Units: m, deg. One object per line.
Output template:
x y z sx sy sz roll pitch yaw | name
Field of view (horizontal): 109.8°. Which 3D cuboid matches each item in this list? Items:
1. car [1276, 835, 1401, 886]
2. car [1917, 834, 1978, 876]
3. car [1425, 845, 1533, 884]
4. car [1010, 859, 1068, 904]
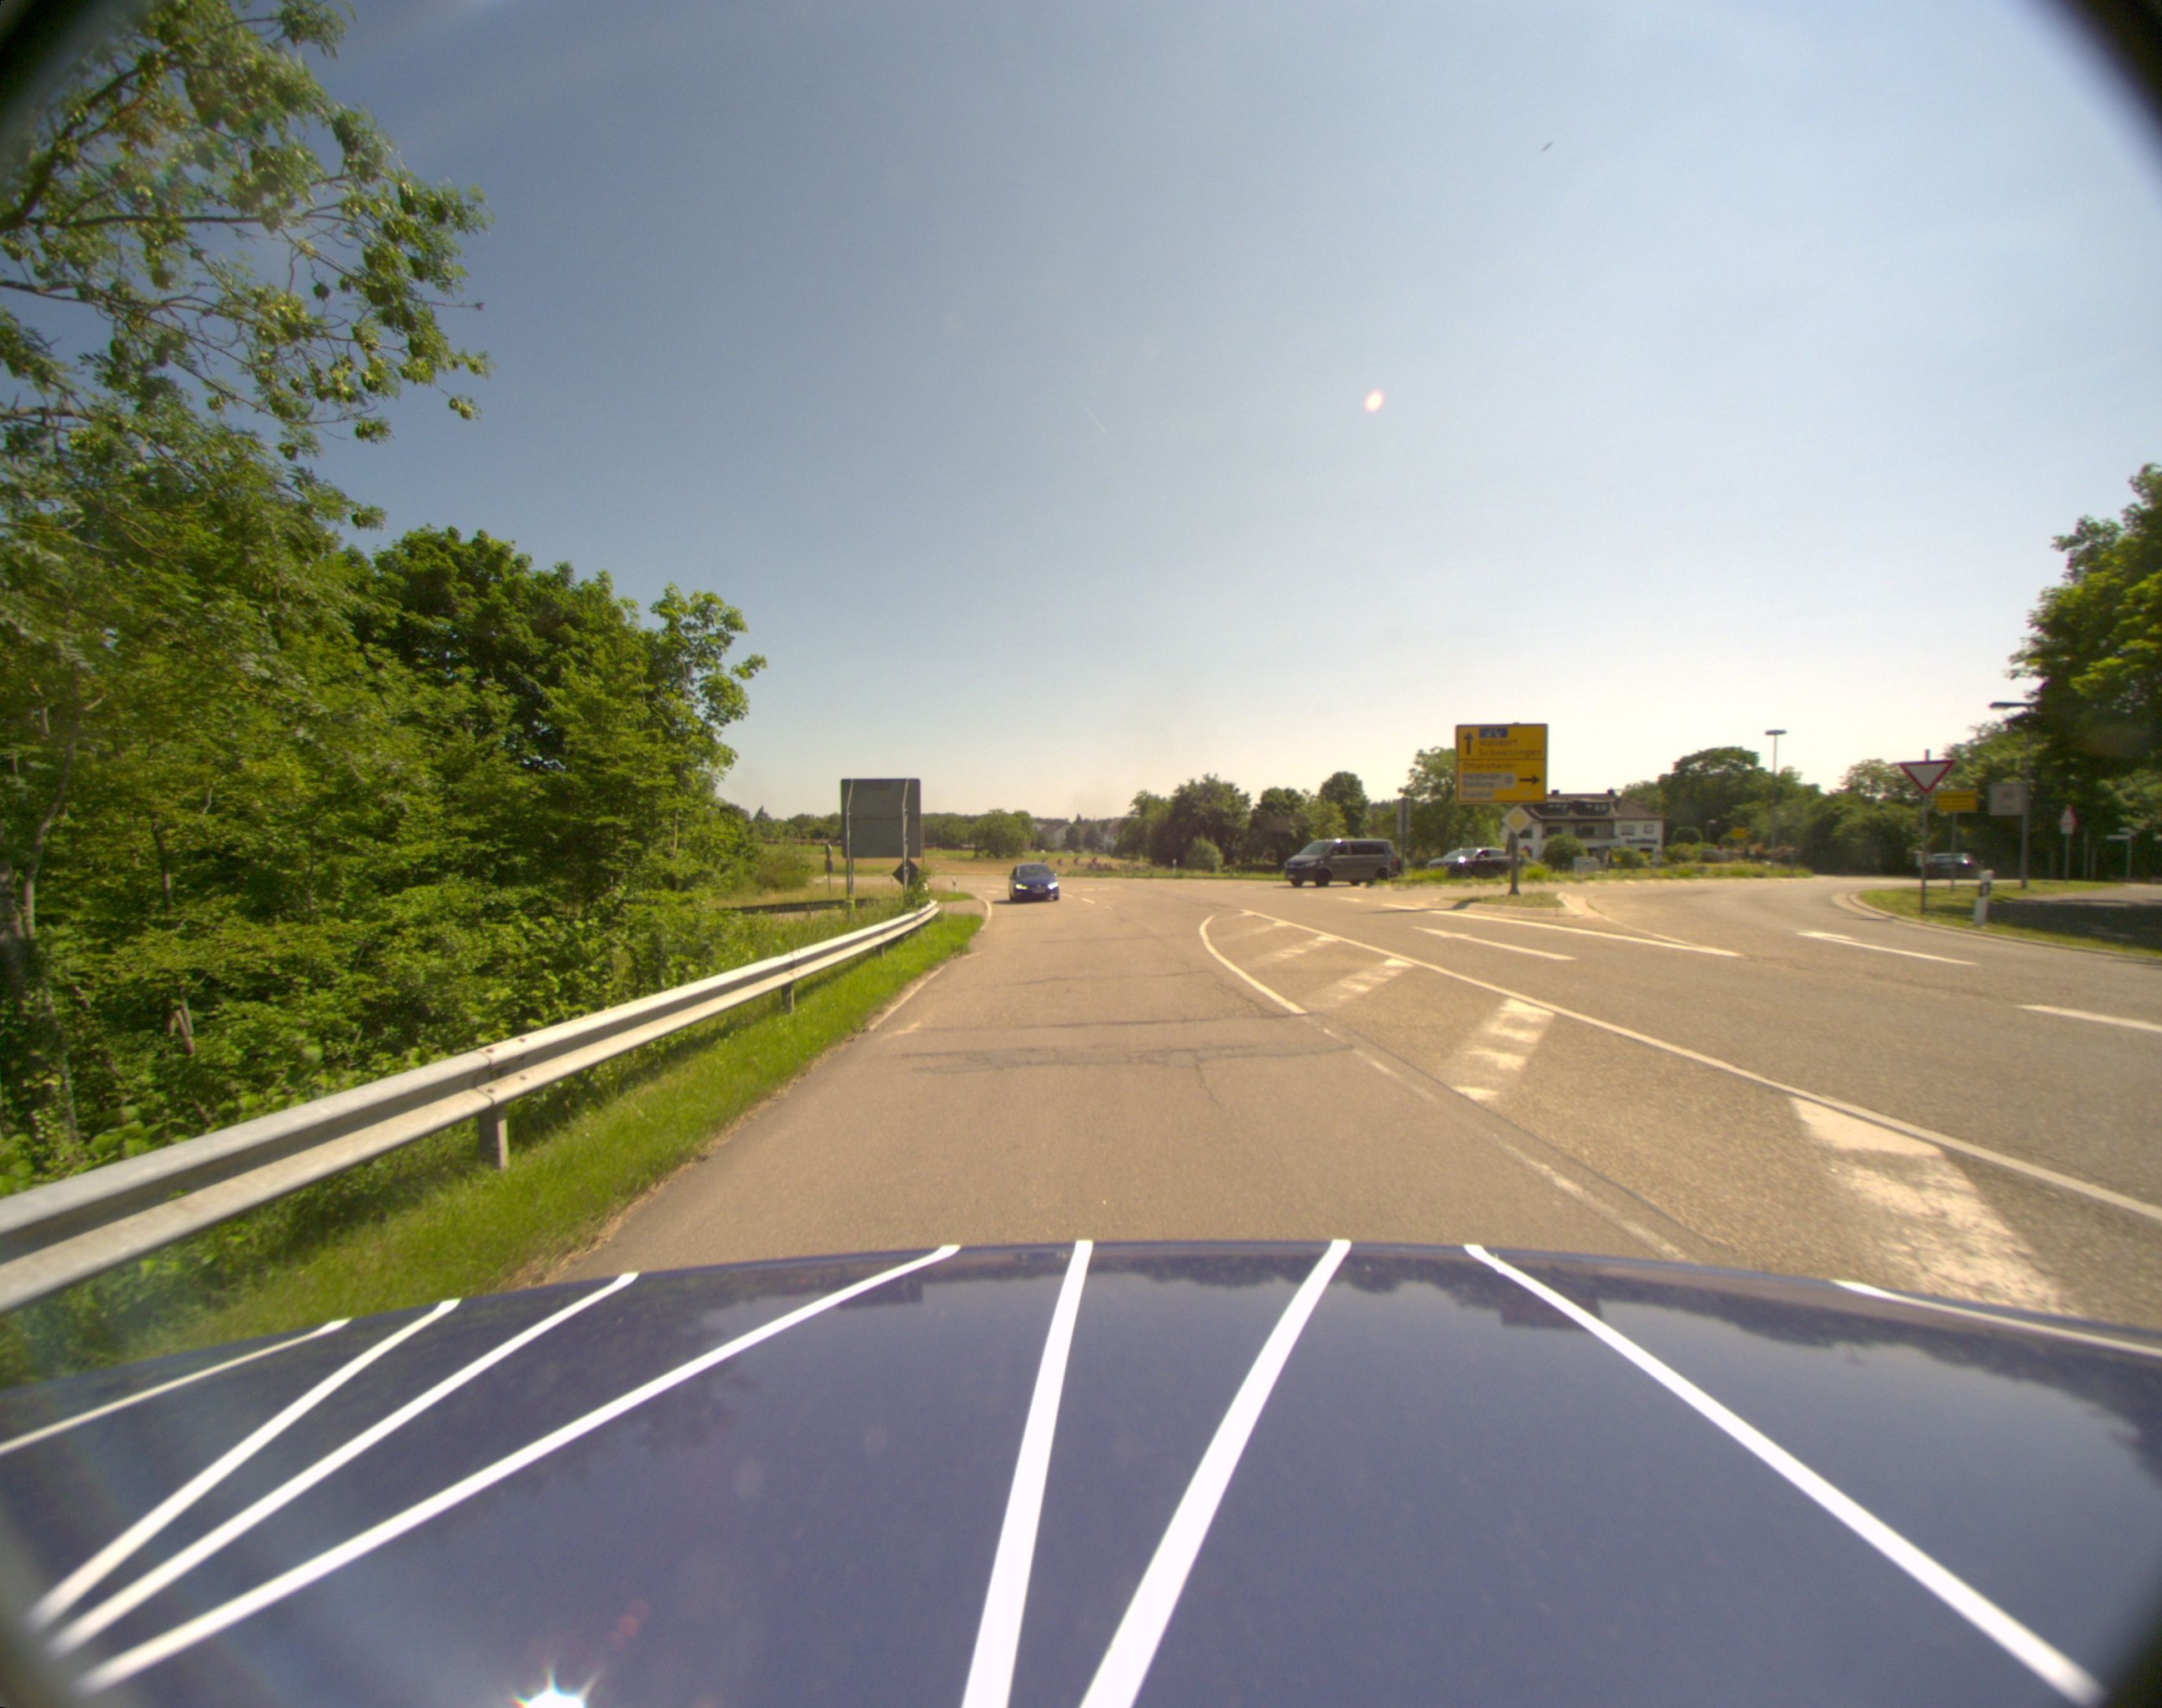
10.813 0.261 31.964 4.770 2.002 1.997 -1 0 -20 | car
45.144 0.025 39.585 4.007 2.002 1.995 -3 1 -40 | car
17.915 0.437 34.204 4.380 1.636 1.746 -1 0 -18 | car
-1.826 1.071 31.655 1.830 1.592 4.191 -4 1 -10 | car
